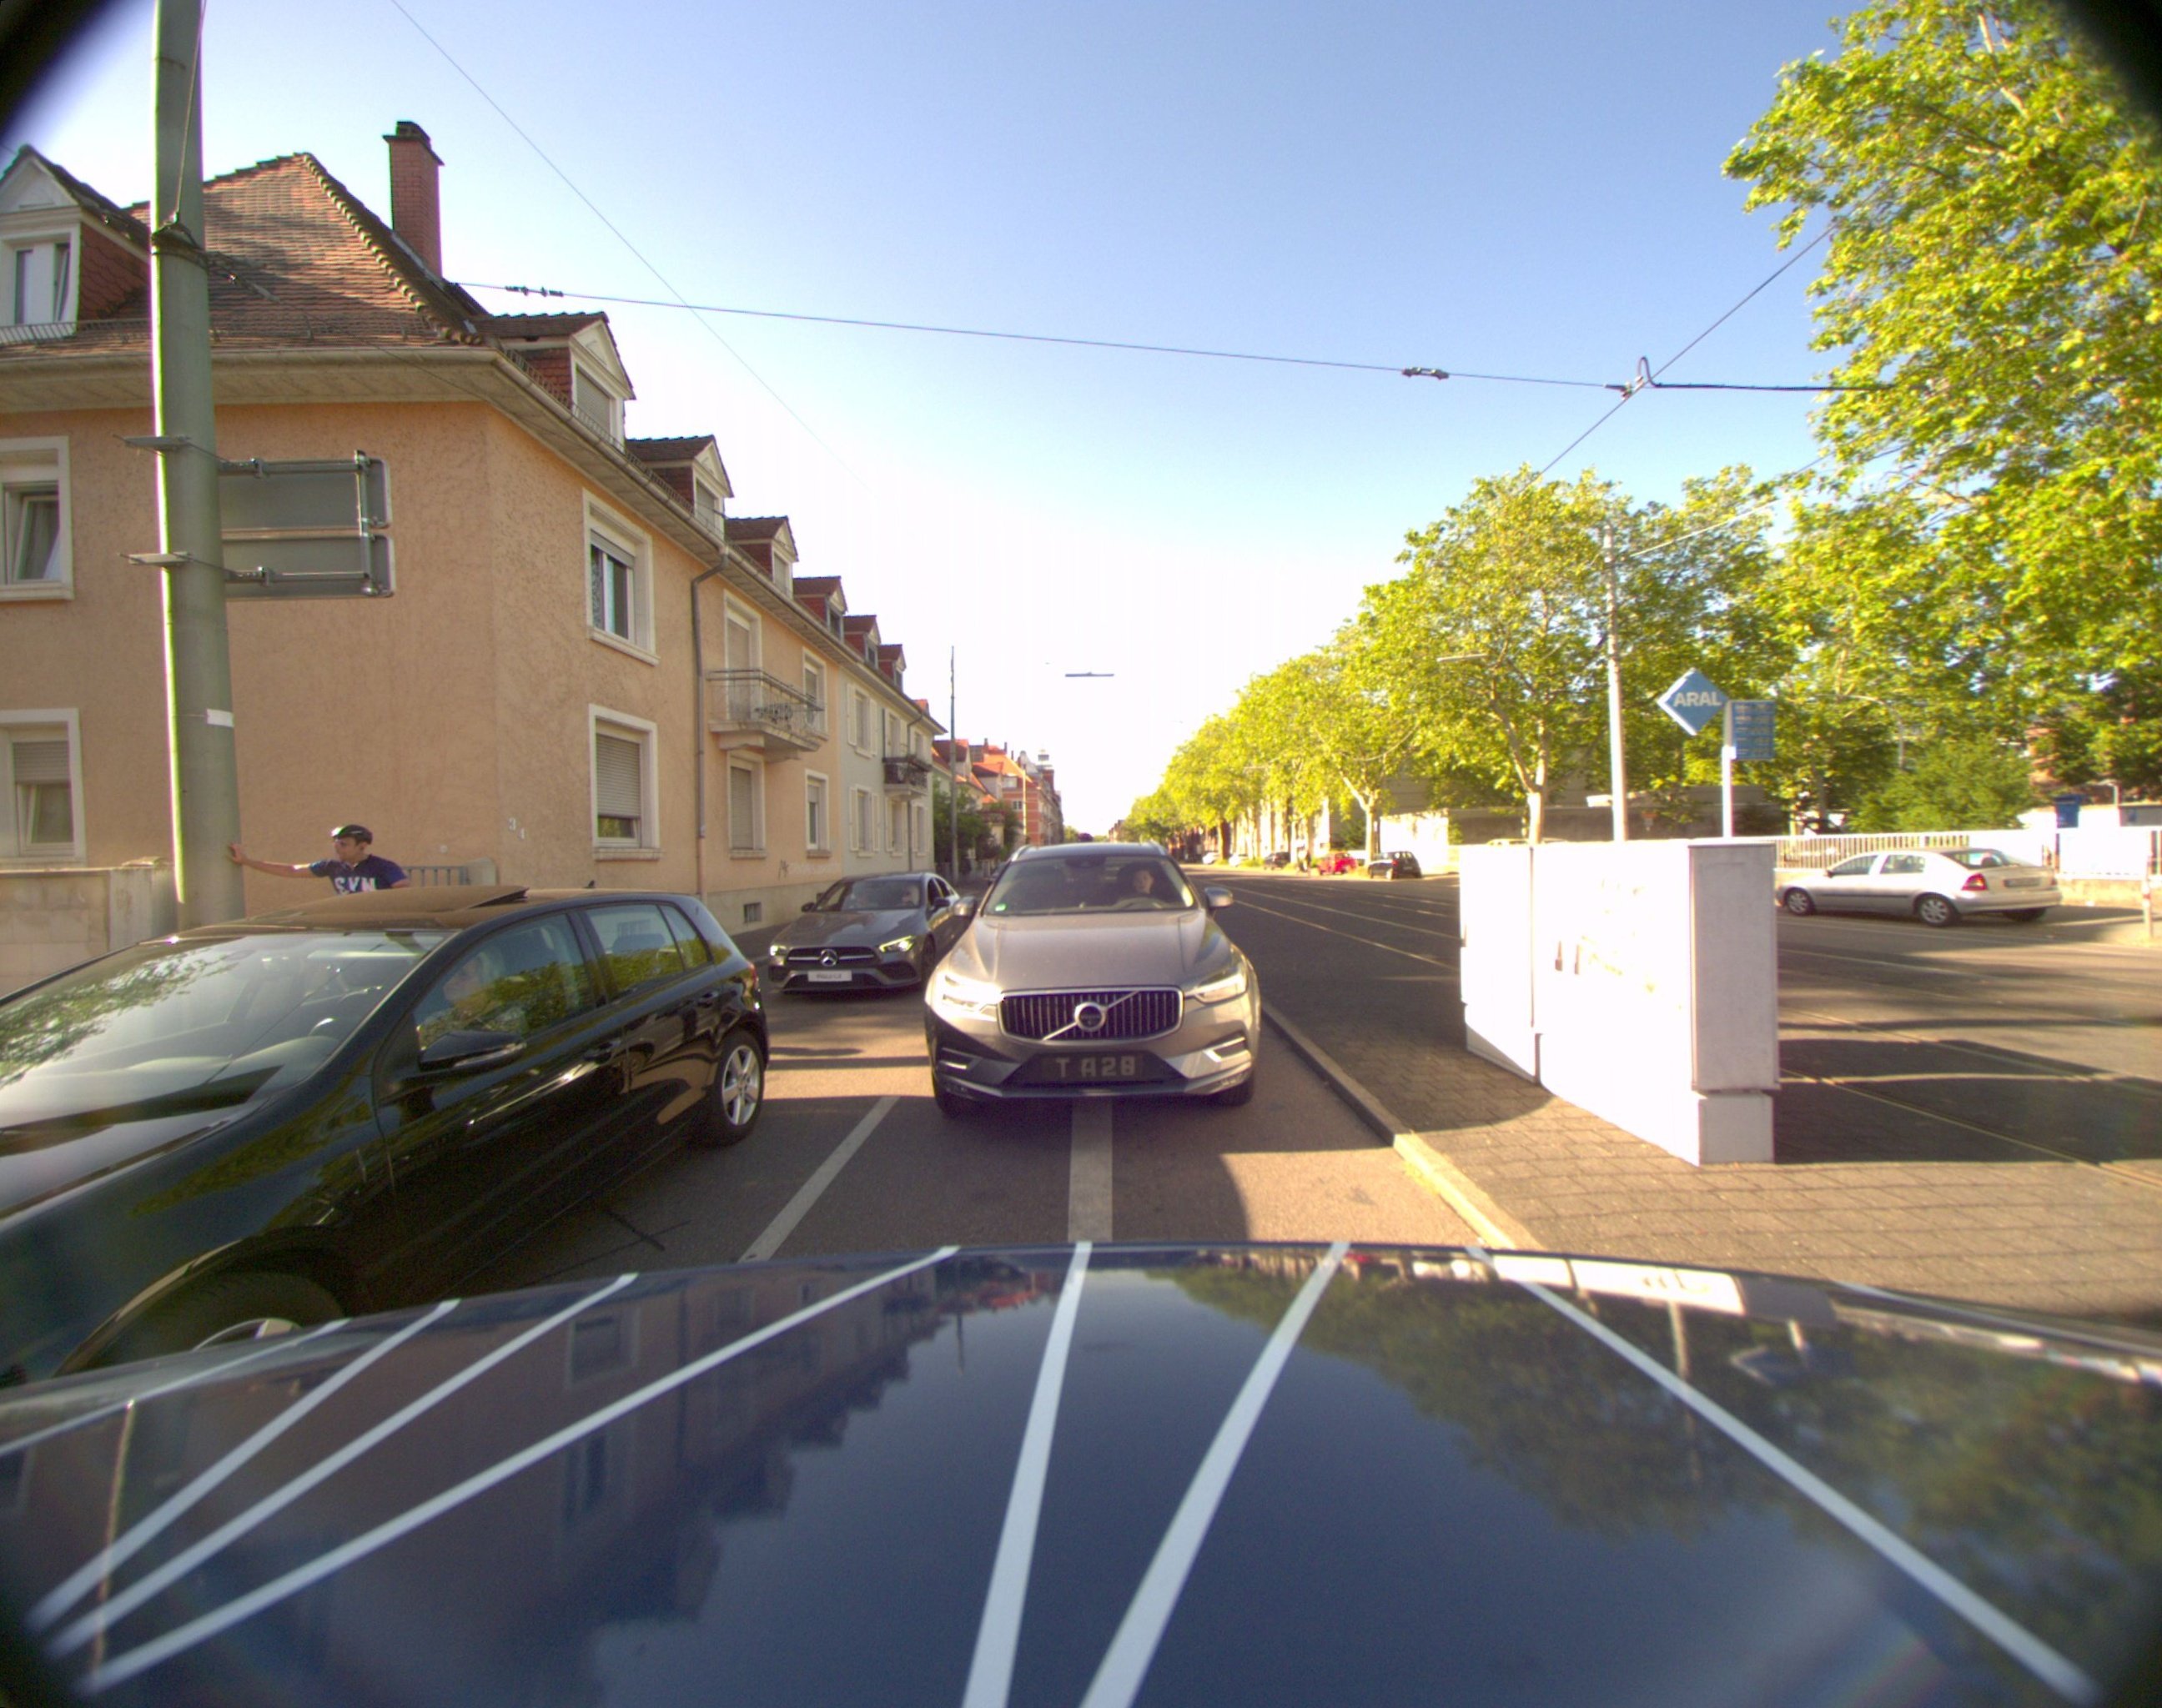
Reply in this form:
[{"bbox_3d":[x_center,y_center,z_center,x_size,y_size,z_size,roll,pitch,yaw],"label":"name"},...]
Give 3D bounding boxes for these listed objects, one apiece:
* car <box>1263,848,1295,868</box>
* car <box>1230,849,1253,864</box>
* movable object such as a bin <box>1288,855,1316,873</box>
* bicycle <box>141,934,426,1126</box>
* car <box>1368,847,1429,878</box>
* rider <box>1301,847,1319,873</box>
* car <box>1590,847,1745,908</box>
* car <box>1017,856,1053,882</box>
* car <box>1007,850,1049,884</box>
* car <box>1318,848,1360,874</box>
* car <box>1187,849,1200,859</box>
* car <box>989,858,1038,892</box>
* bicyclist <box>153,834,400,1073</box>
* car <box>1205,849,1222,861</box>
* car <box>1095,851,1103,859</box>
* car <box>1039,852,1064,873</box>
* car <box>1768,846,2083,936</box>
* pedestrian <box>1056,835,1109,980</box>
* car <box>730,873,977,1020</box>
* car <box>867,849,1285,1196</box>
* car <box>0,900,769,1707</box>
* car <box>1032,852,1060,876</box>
[{"bbox_3d":[17.138,0.327,65.964,1.754,1.582,3.878,-5,1,3],"label":"car"},{"bbox_3d":[17.628,0.245,83.465,1.754,1.532,3.878,-5,1,3],"label":"car"},{"bbox_3d":[14.754,0.661,50.797,1.178,1.097,1.834,-2,1,-4],"label":"movable object such as a bin"},{"bbox_3d":[-5.890,1.239,5.761,0.556,1.069,1.624,2,0,-7],"label":"bicycle"},{"bbox_3d":[16.963,0.437,40.785,1.723,1.436,3.769,-5,1,3],"label":"car"},{"bbox_3d":[14.889,0.409,49.481,0.725,1.639,1.106,-2,1,-4],"label":"rider"},{"bbox_3d":[16.349,0.601,21.409,1.619,1.436,3.606,-5,1,3],"label":"car"},{"bbox_3d":[-2.799,0.870,47.112,1.825,1.424,4.334,-2,1,1],"label":"car"},{"bbox_3d":[-2.900,0.691,42.393,1.825,1.701,4.334,-2,1,1],"label":"car"},{"bbox_3d":[16.939,0.445,50.056,1.661,1.486,3.377,-5,1,3],"label":"car"},{"bbox_3d":[18.565,0.057,125.555,1.661,1.452,3.730,-5,1,3],"label":"car"},{"bbox_3d":[-3.224,0.966,37.138,1.825,1.422,4.334,-2,1,1],"label":"car"},{"bbox_3d":[-6.070,0.721,5.794,1.021,1.684,0.729,2,0,-7],"label":"bicyclist"},{"bbox_3d":[17.584,0.100,100.679,1.661,1.452,3.730,-5,1,3],"label":"car"},{"bbox_3d":[4.142,0.260,174.370,1.851,1.640,3.999,-2,1,1],"label":"car"},{"bbox_3d":[-2.587,0.697,67.278,1.825,1.701,4.334,-2,1,1],"label":"car"},{"bbox_3d":[16.205,0.629,14.950,1.687,1.358,3.989,-6,0,1],"label":"car"},{"bbox_3d":[0.024,0.678,9.979,0.609,1.832,0.599,-2,1,1],"label":"pedestrian"},{"bbox_3d":[-2.691,1.025,10.184,1.825,1.422,4.491,-2,-1,1],"label":"car"},{"bbox_3d":[0.127,0.800,5.777,1.924,1.579,4.387,-2,1,4],"label":"car"},{"bbox_3d":[-2.796,1.047,2.594,1.717,1.430,3.990,-2,1,1],"label":"car"},{"bbox_3d":[-2.775,0.775,60.912,1.825,1.701,4.334,-2,1,1],"label":"car"}]
